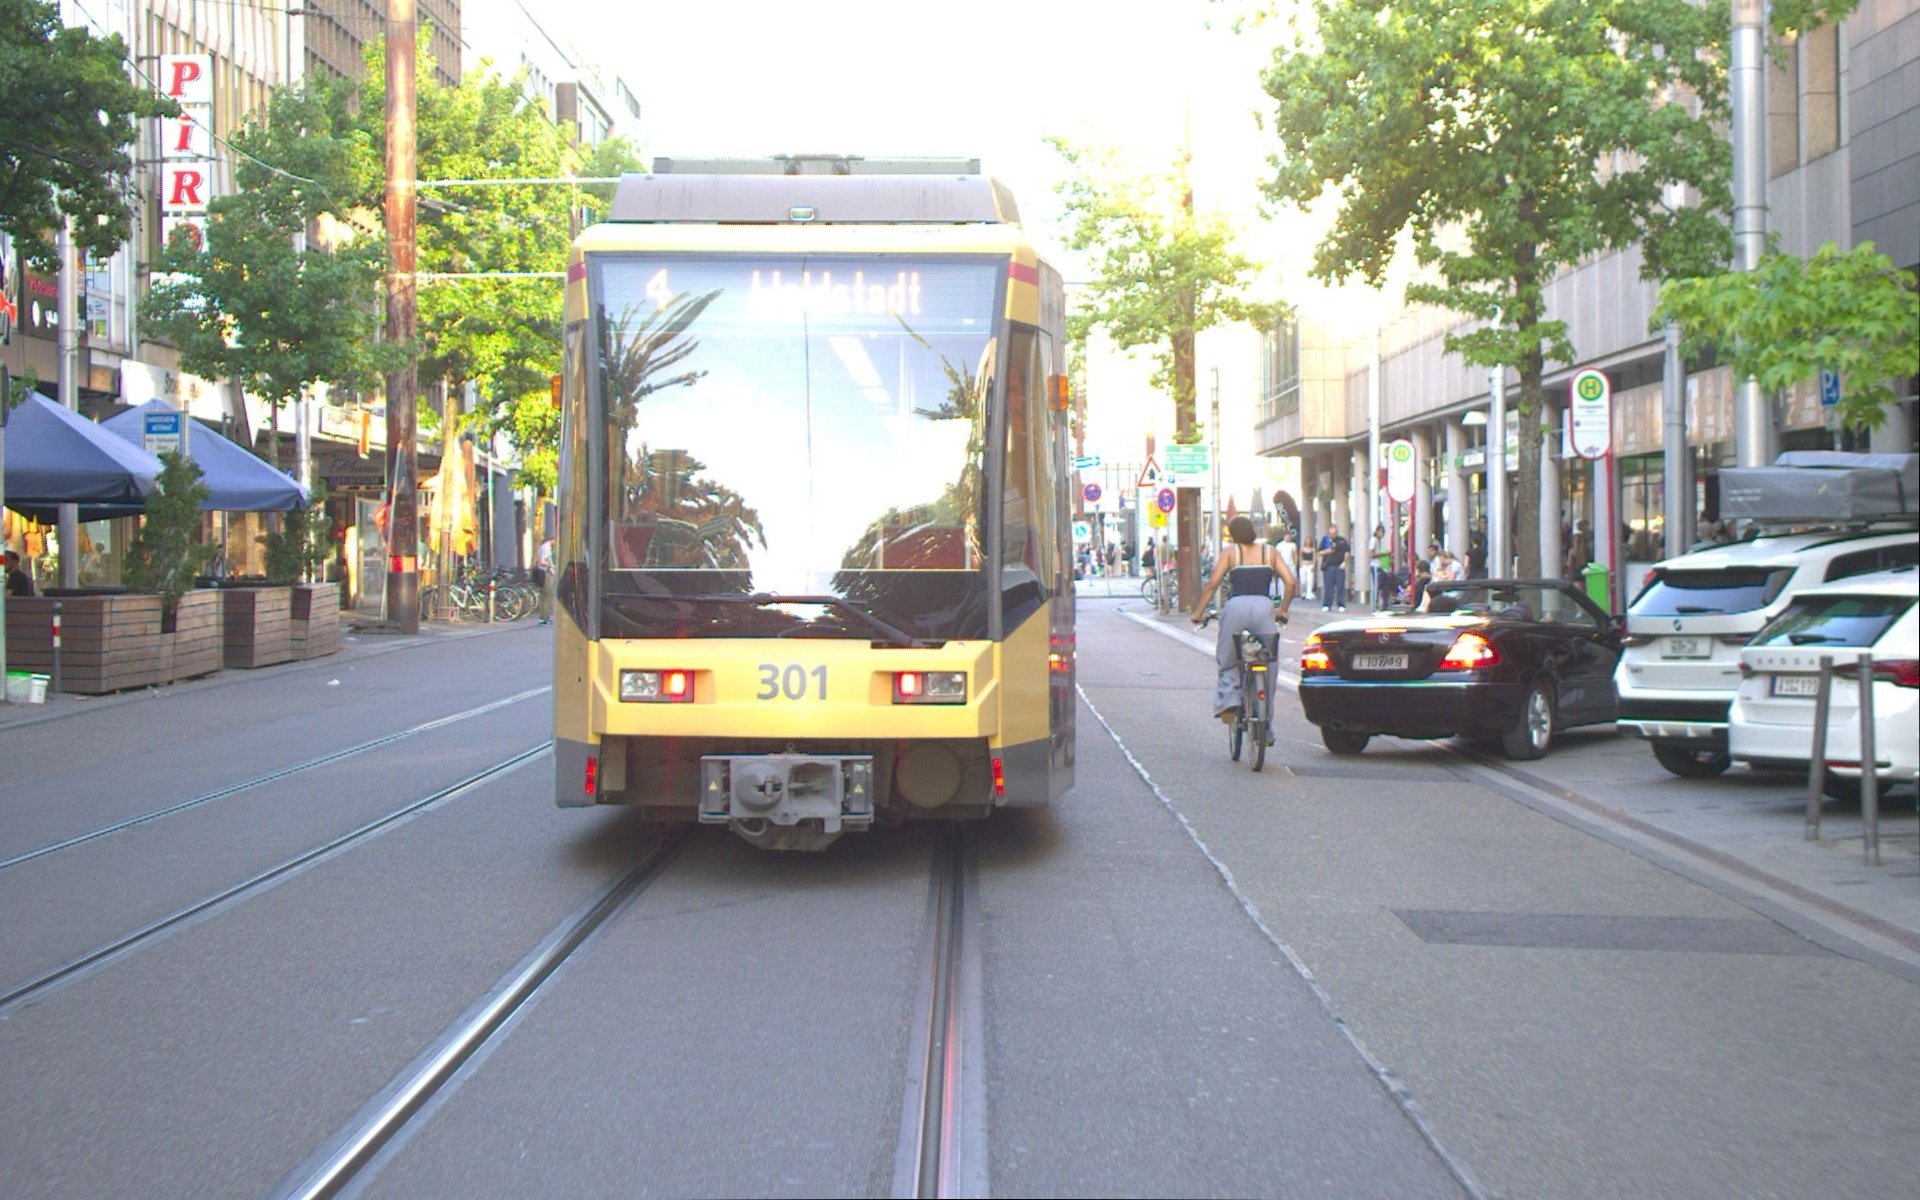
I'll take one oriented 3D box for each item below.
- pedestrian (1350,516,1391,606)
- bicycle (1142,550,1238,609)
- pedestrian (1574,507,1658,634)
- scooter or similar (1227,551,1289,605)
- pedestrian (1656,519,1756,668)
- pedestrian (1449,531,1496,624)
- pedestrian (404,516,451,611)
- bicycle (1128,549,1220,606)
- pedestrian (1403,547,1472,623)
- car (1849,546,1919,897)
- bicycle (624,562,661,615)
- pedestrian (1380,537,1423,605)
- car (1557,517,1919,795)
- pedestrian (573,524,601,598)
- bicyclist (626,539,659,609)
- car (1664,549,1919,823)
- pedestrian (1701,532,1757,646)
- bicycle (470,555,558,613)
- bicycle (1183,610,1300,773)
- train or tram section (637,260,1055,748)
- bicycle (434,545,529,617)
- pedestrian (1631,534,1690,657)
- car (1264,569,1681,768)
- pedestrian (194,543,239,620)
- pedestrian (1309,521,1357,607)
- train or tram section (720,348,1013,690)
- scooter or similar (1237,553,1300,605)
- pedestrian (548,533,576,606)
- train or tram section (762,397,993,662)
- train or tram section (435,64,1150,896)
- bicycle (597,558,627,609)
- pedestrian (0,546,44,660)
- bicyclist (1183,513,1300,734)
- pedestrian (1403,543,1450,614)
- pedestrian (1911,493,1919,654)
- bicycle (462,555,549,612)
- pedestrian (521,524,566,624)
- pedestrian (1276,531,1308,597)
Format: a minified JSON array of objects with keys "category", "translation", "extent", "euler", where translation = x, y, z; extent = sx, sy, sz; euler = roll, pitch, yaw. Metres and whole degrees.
[{"category":"pedestrian","translation":[8.173,-0.781,68.443],"extent":[0.749,1.776,0.891],"euler":[0,0,3]},{"category":"bicycle","translation":[5.776,-0.518,86.473],"extent":[2.328,1.466,0.791],"euler":[0,0,-3]},{"category":"pedestrian","translation":[10.006,-0.455,52.497],"extent":[1.053,1.870,0.929],"euler":[-2,2,0]},{"category":"scooter or similar","translation":[7.103,-0.526,81.921],"extent":[1.379,1.246,0.556],"euler":[-1,0,-7]},{"category":"pedestrian","translation":[8.094,-0.074,37.328],"extent":[0.877,1.576,0.755],"euler":[1,2,0]},{"category":"pedestrian","translation":[9.193,-0.414,61.720],"extent":[0.701,1.632,0.646],"euler":[-2,2,0]},{"category":"pedestrian","translation":[-11.332,-0.775,73.158],"extent":[0.849,2.007,0.921],"euler":[0,0,0]},{"category":"bicycle","translation":[5.641,-0.596,90.566],"extent":[2.328,1.466,0.791],"euler":[0,0,-3]},{"category":"pedestrian","translation":[8.759,-0.280,63.111],"extent":[1.112,1.323,0.926],"euler":[-2,1,1]},{"category":"car","translation":[6.391,0.426,15.945],"extent":[4.330,1.557,1.877],"euler":[-4,1,-32]},{"category":"bicycle","translation":[-6.403,-0.234,69.286],"extent":[0.641,1.019,1.589],"euler":[1,1,-2]},{"category":"pedestrian","translation":[8.822,-0.587,68.683],"extent":[0.739,1.323,0.720],"euler":[-2,2,1]},{"category":"car","translation":[6.321,0.286,23.319],"extent":[4.194,1.632,1.921],"euler":[-4,2,-32]},{"category":"pedestrian","translation":[-8.619,-0.904,79.402],"extent":[0.551,1.681,0.576],"euler":[2,0,-4]},{"category":"bicyclist","translation":[-6.397,-0.521,69.323],"extent":[0.620,1.411,0.700],"euler":[0,0,-3]},{"category":"car","translation":[6.546,0.392,20.614],"extent":[4.170,1.453,1.864],"euler":[-3,1,-23]},{"category":"pedestrian","translation":[11.229,-0.170,50.233],"extent":[0.596,1.610,0.829],"euler":[-2,2,0]},{"category":"bicycle","translation":[-9.143,-0.329,70.569],"extent":[1.733,1.122,0.613],"euler":[3,0,-6]},{"category":"bicycle","translation":[1.982,0.626,24.421],"extent":[0.656,1.057,2.057],"euler":[1,1,1]},{"category":"train or tram section","translation":[-0.890,-0.766,30.116],"extent":[3.007,3.511,10.402],"euler":[0,1,-1]},{"category":"bicycle","translation":[-9.579,-0.385,68.810],"extent":[1.796,1.355,0.660],"euler":[3,0,-12]},{"category":"pedestrian","translation":[9.389,-0.063,46.103],"extent":[0.596,1.610,0.755],"euler":[-2,2,0]},{"category":"car","translation":[4.109,0.470,26.960],"extent":[1.804,1.344,4.439],"euler":[0,2,29]},{"category":"pedestrian","translation":[-13.069,-0.325,60.463],"extent":[0.574,1.315,0.725],"euler":[2,0,0]},{"category":"pedestrian","translation":[7.764,-0.743,71.651],"extent":[0.888,1.776,0.751],"euler":[0,0,-2]},{"category":"train or tram section","translation":[-1.027,-0.908,40.744],"extent":[3.003,3.511,10.846],"euler":[0,1,-1]},{"category":"scooter or similar","translation":[7.270,-0.495,81.029],"extent":[1.379,1.206,0.516],"euler":[-1,0,-13]},{"category":"pedestrian","translation":[-9.275,-0.716,80.118],"extent":[0.573,1.681,0.553],"euler":[2,0,-10]},{"category":"train or tram section","translation":[-1.171,-1.016,51.443],"extent":[3.044,3.511,10.531],"euler":[1,1,-1]},{"category":"train or tram section","translation":[-0.769,-0.563,19.731],"extent":[3.016,3.511,10.371],"euler":[0,1,-1]},{"category":"bicycle","translation":[-7.986,-0.374,79.033],"extent":[0.611,1.122,2.252],"euler":[3,0,-5]},{"category":"pedestrian","translation":[-10.710,0.026,38.717],"extent":[0.559,1.252,0.606],"euler":[3,0,1]},{"category":"bicyclist","translation":[1.990,0.164,24.377],"extent":[0.726,1.521,0.733],"euler":[2,0,0]},{"category":"pedestrian","translation":[9.077,-0.424,66.877],"extent":[0.806,1.323,0.626],"euler":[-2,2,1]},{"category":"pedestrian","translation":[11.335,-0.298,38.944],"extent":[0.832,1.830,0.944],"euler":[-1,2,0]},{"category":"bicycle","translation":[-9.649,-0.342,73.006],"extent":[1.733,1.122,0.563],"euler":[3,0,-3]},{"category":"pedestrian","translation":[-7.981,-0.493,65.943],"extent":[0.750,1.873,0.576],"euler":[2,0,-4]},{"category":"pedestrian","translation":[8.659,-0.933,89.659],"extent":[0.701,1.678,0.680],"euler":[-2,2,0]}]
